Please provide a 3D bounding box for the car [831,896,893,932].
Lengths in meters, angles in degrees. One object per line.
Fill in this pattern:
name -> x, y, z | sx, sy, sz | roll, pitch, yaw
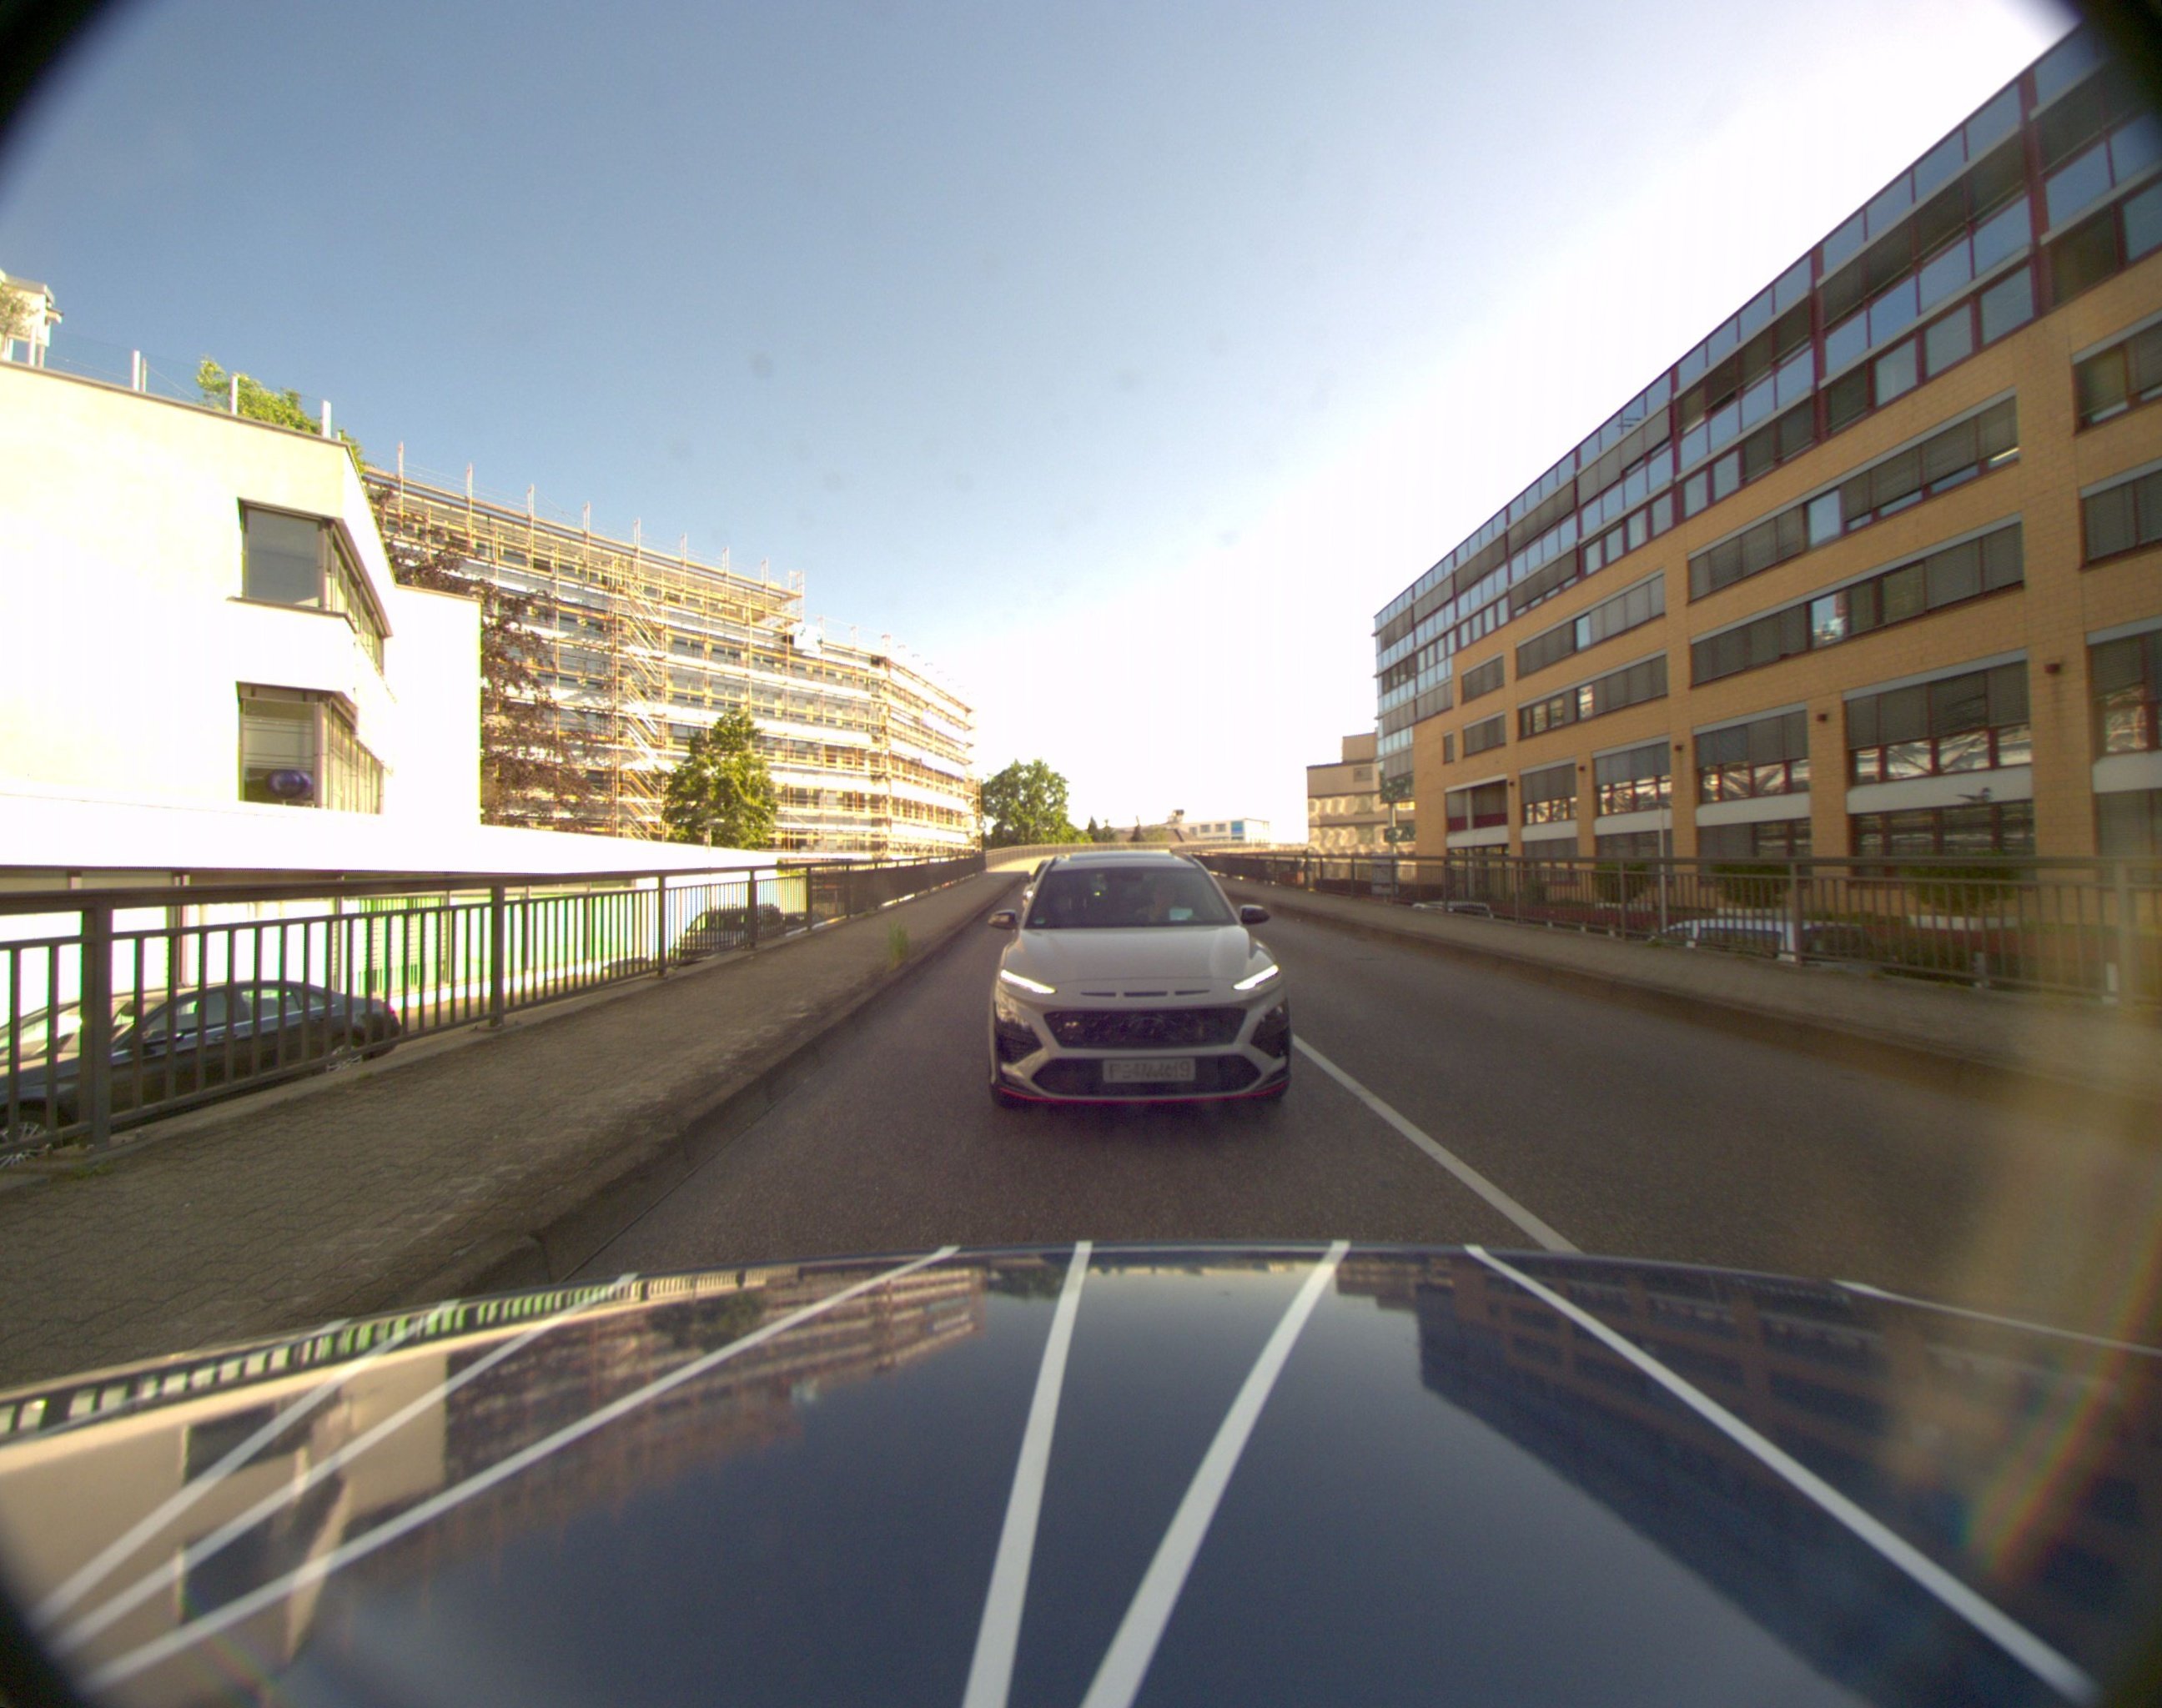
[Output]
car -> -10.205, 2.778, 35.668 | 1.726, 1.383, 4.000 | -2, -1, -1

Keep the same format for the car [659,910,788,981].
car -> -9.901, 2.475, 21.419 | 1.726, 1.513, 4.000 | -2, -1, -1

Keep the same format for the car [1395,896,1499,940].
car -> 12.750, 2.194, 26.741 | 1.766, 1.261, 3.809 | 0, -1, -1

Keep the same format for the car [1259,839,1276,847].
car -> 35.543, -2.092, 144.673 | 1.947, 1.456, 4.008 | 5, 3, 32

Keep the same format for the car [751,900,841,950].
car -> -10.082, 2.482, 27.207 | 1.726, 1.383, 4.000 | -2, -1, -1

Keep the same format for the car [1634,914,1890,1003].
car -> 13.055, 1.939, 14.911 | 1.580, 1.261, 3.809 | 0, -1, -1

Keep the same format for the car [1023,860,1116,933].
car -> -0.286, 0.887, 17.693 | 1.902, 1.433, 4.126 | 0, 0, -1

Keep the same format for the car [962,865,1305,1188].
car -> 0.294, 0.908, 5.883 | 1.749, 1.637, 4.001 | 0, -1, 1

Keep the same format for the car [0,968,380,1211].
car -> -9.591, 2.170, 7.408 | 1.726, 1.513, 4.001 | -2, -1, 1
